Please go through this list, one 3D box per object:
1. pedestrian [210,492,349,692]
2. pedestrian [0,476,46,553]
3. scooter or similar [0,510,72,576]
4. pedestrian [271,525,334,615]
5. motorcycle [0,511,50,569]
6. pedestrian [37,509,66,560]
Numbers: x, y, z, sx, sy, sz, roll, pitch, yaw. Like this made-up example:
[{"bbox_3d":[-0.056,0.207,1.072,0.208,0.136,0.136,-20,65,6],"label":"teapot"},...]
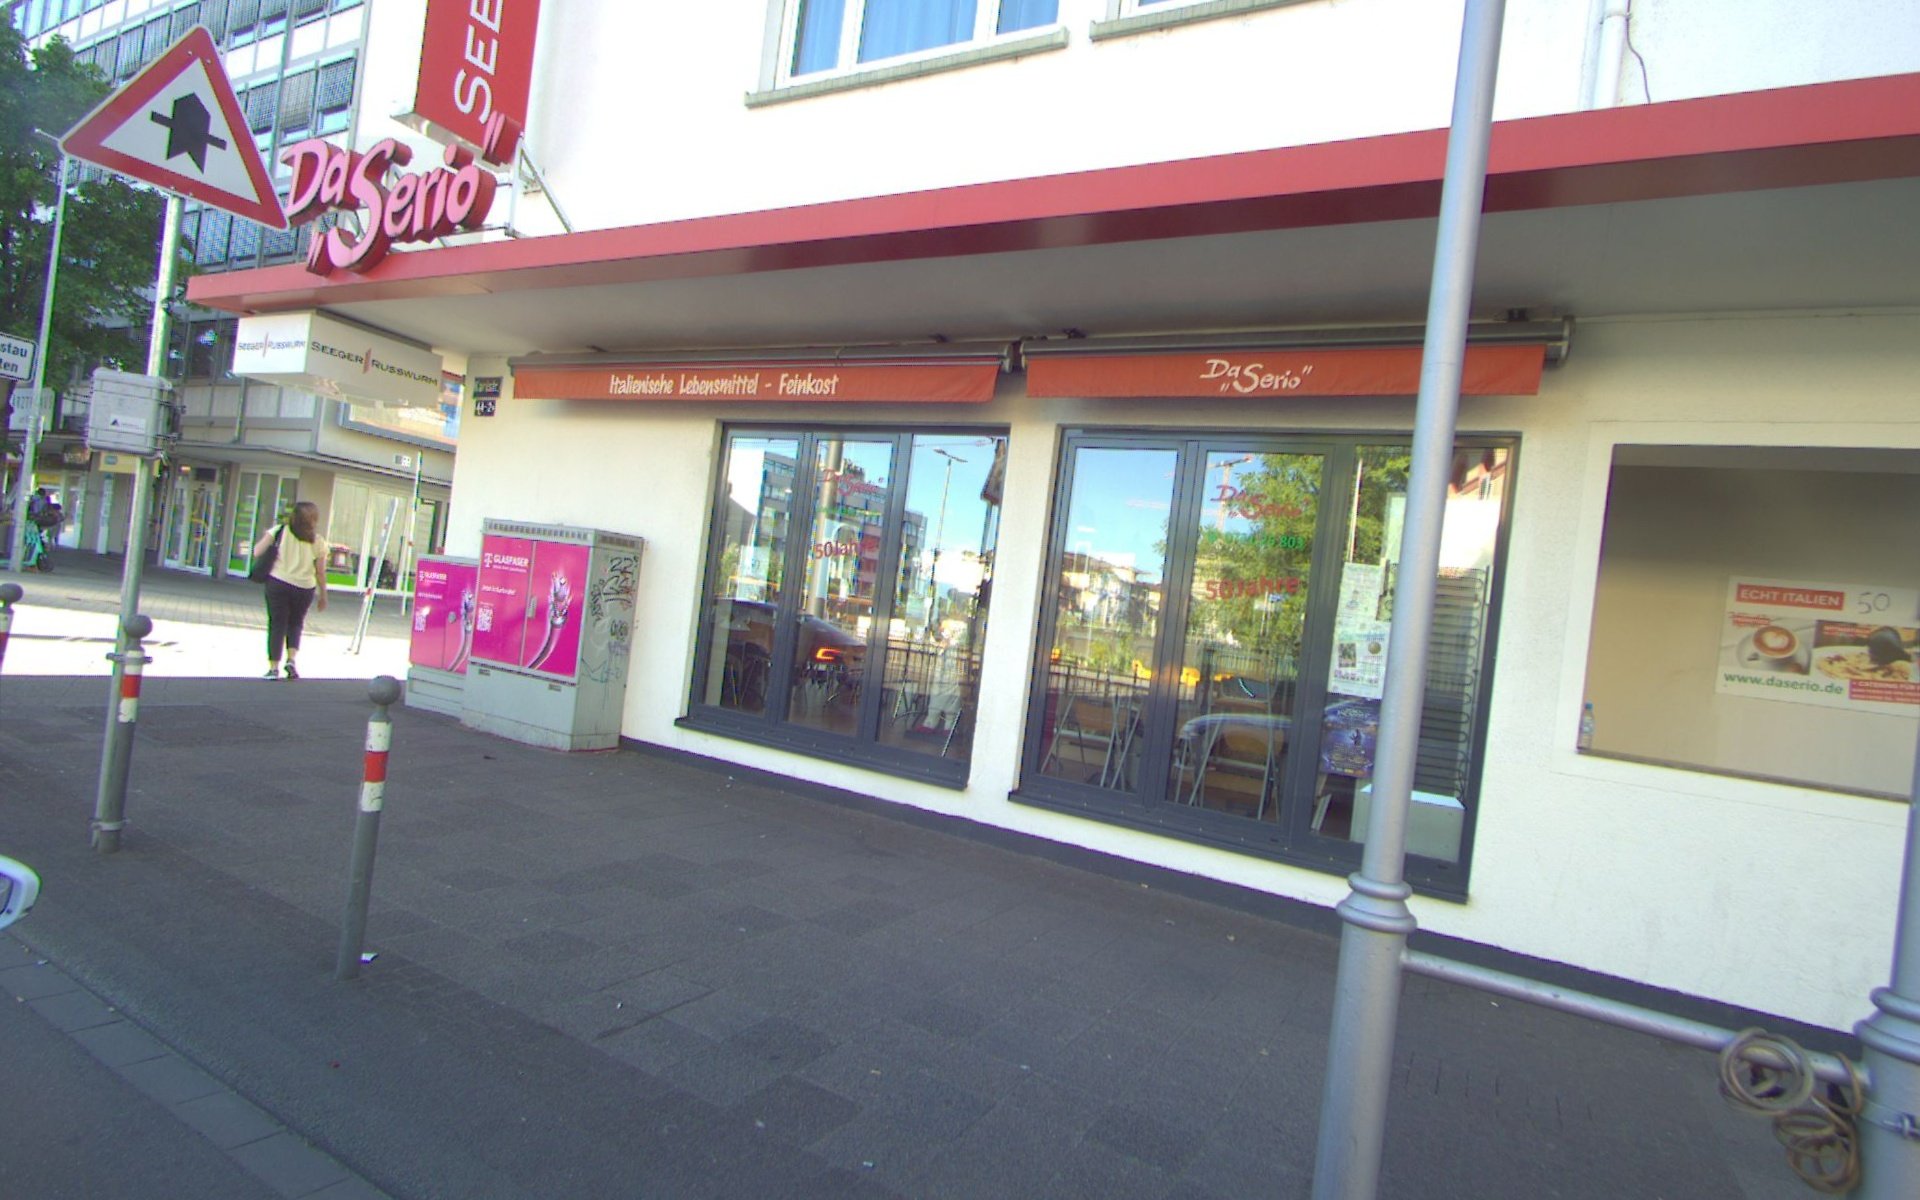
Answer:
[{"bbox_3d":[-6.658,-0.078,9.867,0.909,1.773,1.029,7,0,-35],"label":"pedestrian"},{"bbox_3d":[-26.240,-2.392,28.166,0.570,2.037,0.663,6,-1,34],"label":"pedestrian"},{"bbox_3d":[-19.934,-1.235,21.175,1.628,1.229,0.640,8,-1,-29],"label":"scooter or similar"},{"bbox_3d":[-13.363,-0.612,20.456,0.884,1.687,0.801,8,-1,-35],"label":"pedestrian"},{"bbox_3d":[-21.541,-1.410,22.392,0.532,1.186,1.711,7,-2,30],"label":"motorcycle"},{"bbox_3d":[-25.886,-1.867,28.665,0.504,1.359,0.390,6,-1,34],"label":"pedestrian"}]
